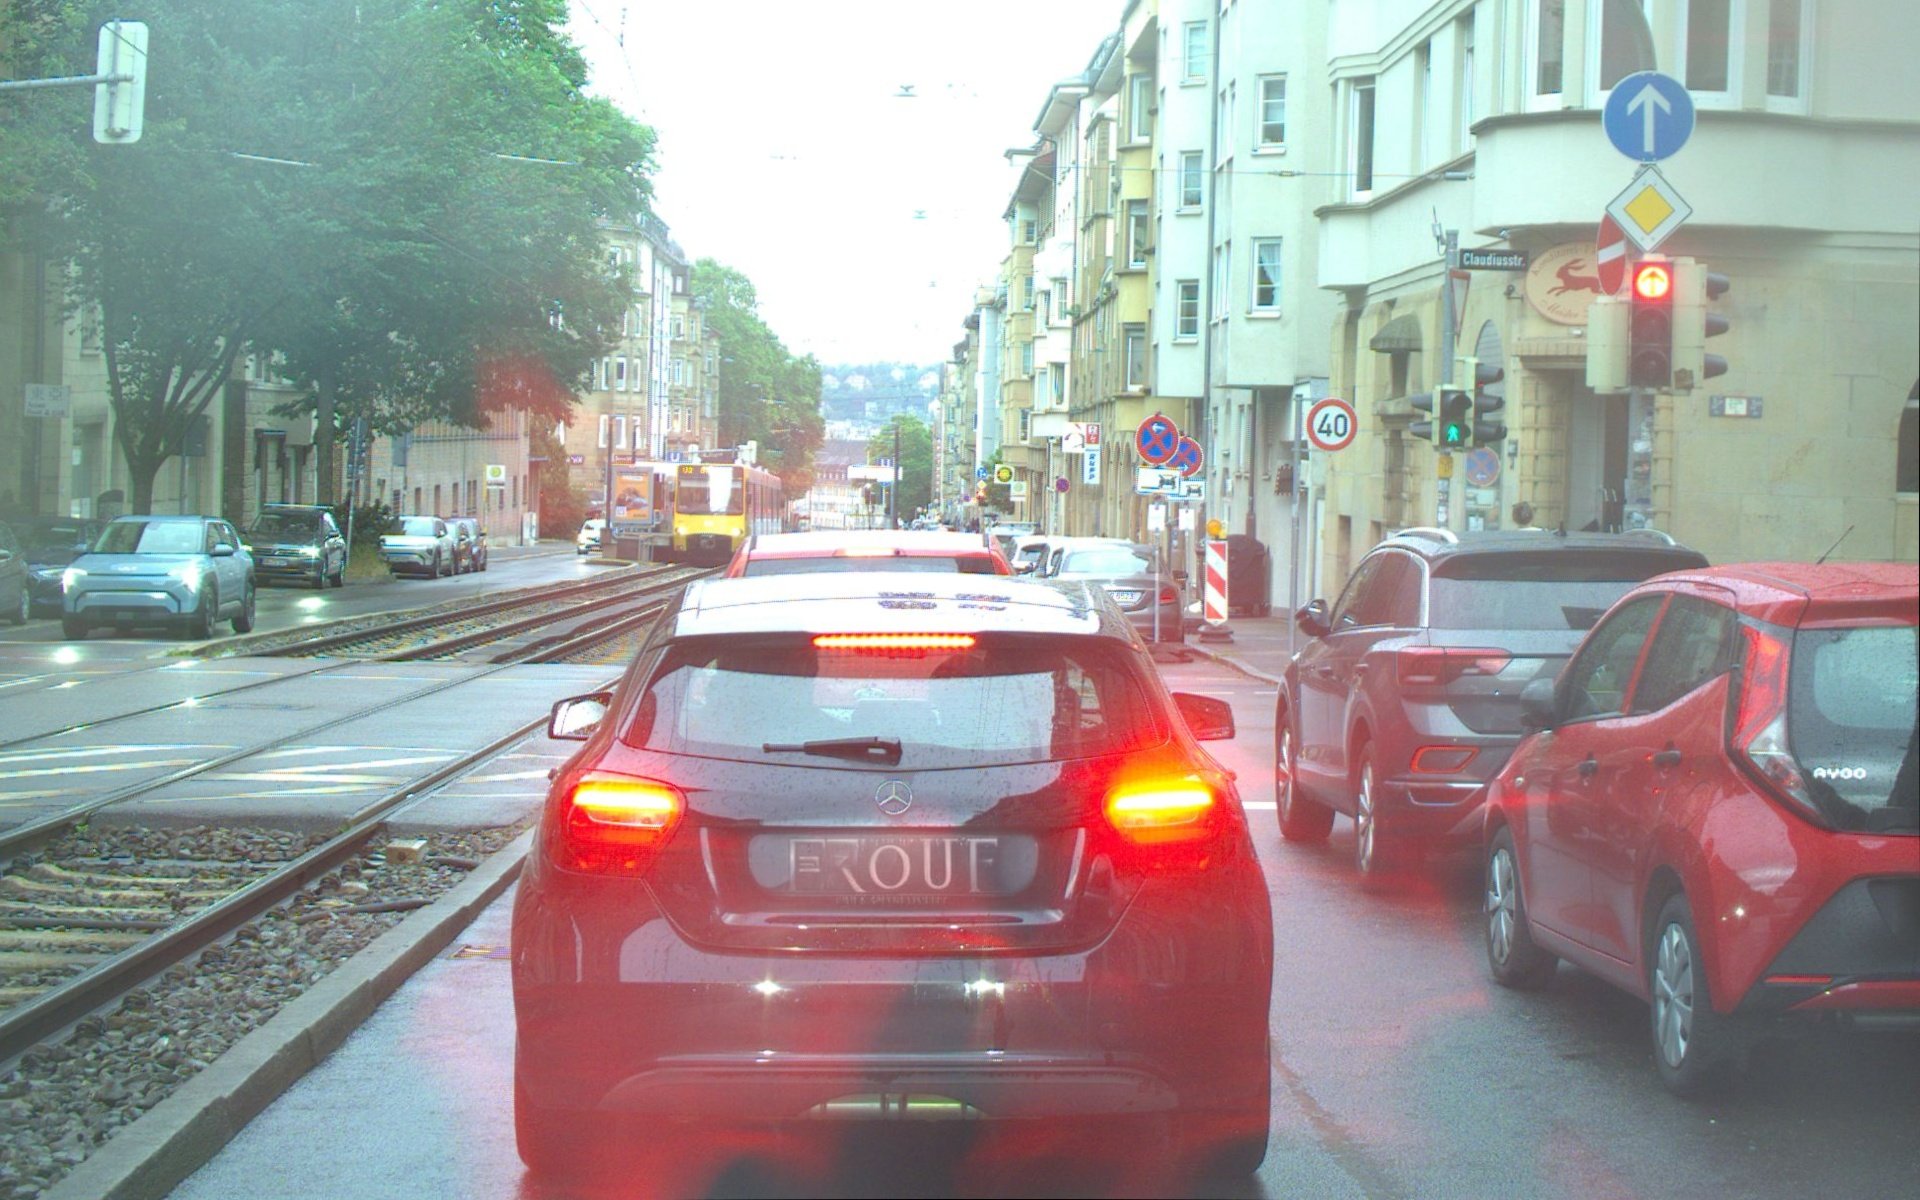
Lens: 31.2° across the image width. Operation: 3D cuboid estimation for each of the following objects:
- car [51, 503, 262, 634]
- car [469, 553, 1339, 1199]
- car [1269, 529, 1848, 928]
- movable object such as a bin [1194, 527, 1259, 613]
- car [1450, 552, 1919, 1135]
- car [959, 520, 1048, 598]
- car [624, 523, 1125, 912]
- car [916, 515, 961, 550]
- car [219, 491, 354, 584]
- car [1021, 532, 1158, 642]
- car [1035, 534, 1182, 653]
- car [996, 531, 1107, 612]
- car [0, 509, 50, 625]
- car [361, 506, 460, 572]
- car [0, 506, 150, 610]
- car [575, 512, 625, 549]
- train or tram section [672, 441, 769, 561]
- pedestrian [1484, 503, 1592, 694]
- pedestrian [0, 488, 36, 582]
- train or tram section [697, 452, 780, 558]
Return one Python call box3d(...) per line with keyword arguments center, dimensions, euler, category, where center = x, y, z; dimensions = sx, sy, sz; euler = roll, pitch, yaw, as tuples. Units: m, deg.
box3d(center=(-10.455, -0.414, 45.008), dimensions=(1.921, 1.612, 4.129), euler=(1, 1, -2), category="car")
box3d(center=(-0.143, 0.623, 9.297), dimensions=(1.834, 1.448, 3.902), euler=(1, 1, -1), category="car")
box3d(center=(2.579, 0.481, 15.778), dimensions=(1.867, 1.543, 3.991), euler=(2, 1, -1), category="car")
box3d(center=(4.635, -0.523, 59.840), dimensions=(0.980, 1.463, 1.273), euler=(1, 0, -1), category="movable object such as a bin")
box3d(center=(2.713, 0.613, 10.506), dimensions=(1.705, 1.448, 3.533), euler=(2, 1, -3), category="car")
box3d(center=(0.961, -0.882, 74.477), dimensions=(1.841, 1.602, 4.760), euler=(1, 1, 1), category="car")
box3d(center=(-0.373, 0.441, 16.124), dimensions=(1.993, 1.520, 4.246), euler=(2, 1, -1), category="car")
box3d(center=(-0.956, -3.068, 156.470), dimensions=(1.887, 1.520, 4.245), euler=(2, 1, 1), category="car")
box3d(center=(-14.057, -1.330, 72.006), dimensions=(1.953, 1.736, 4.780), euler=(4, 2, -2), category="car")
box3d(center=(1.798, -0.198, 48.981), dimensions=(1.712, 1.463, 4.774), euler=(1, 1, -1), category="car")
box3d(center=(1.833, -0.101, 43.614), dimensions=(1.711, 1.405, 4.817), euler=(1, 1, 1), category="car")
box3d(center=(1.605, -0.514, 61.934), dimensions=(1.789, 1.381, 4.395), euler=(1, 1, -1), category="car")
box3d(center=(-13.424, -0.453, 45.686), dimensions=(1.689, 1.524, 4.176), euler=(1, 1, -2), category="car")
box3d(center=(-14.266, -1.605, 89.451), dimensions=(1.961, 1.600, 4.329), euler=(2, 2, -2), category="car")
box3d(center=(-13.469, -0.627, 51.241), dimensions=(1.780, 1.455, 4.979), euler=(1, 1, -2), category="car")
box3d(center=(-14.889, -2.860, 142.236), dimensions=(1.780, 1.497, 4.063), euler=(1, 1, -2), category="car")
box3d(center=(-8.597, -3.568, 125.265), dimensions=(2.745, 4.048, 17.216), euler=(1, 1, -2), category="train or tram section")
box3d(center=(5.177, -0.017, 30.852), dimensions=(0.804, 1.681, 0.754), euler=(1, 0, -1), category="pedestrian")
box3d(center=(-16.952, -1.168, 61.278), dimensions=(0.728, 1.657, 0.771), euler=(2, 1, -1), category="pedestrian")
box3d(center=(-9.021, -3.885, 141.487), dimensions=(2.745, 4.048, 15.663), euler=(1, 1, -2), category="train or tram section")
